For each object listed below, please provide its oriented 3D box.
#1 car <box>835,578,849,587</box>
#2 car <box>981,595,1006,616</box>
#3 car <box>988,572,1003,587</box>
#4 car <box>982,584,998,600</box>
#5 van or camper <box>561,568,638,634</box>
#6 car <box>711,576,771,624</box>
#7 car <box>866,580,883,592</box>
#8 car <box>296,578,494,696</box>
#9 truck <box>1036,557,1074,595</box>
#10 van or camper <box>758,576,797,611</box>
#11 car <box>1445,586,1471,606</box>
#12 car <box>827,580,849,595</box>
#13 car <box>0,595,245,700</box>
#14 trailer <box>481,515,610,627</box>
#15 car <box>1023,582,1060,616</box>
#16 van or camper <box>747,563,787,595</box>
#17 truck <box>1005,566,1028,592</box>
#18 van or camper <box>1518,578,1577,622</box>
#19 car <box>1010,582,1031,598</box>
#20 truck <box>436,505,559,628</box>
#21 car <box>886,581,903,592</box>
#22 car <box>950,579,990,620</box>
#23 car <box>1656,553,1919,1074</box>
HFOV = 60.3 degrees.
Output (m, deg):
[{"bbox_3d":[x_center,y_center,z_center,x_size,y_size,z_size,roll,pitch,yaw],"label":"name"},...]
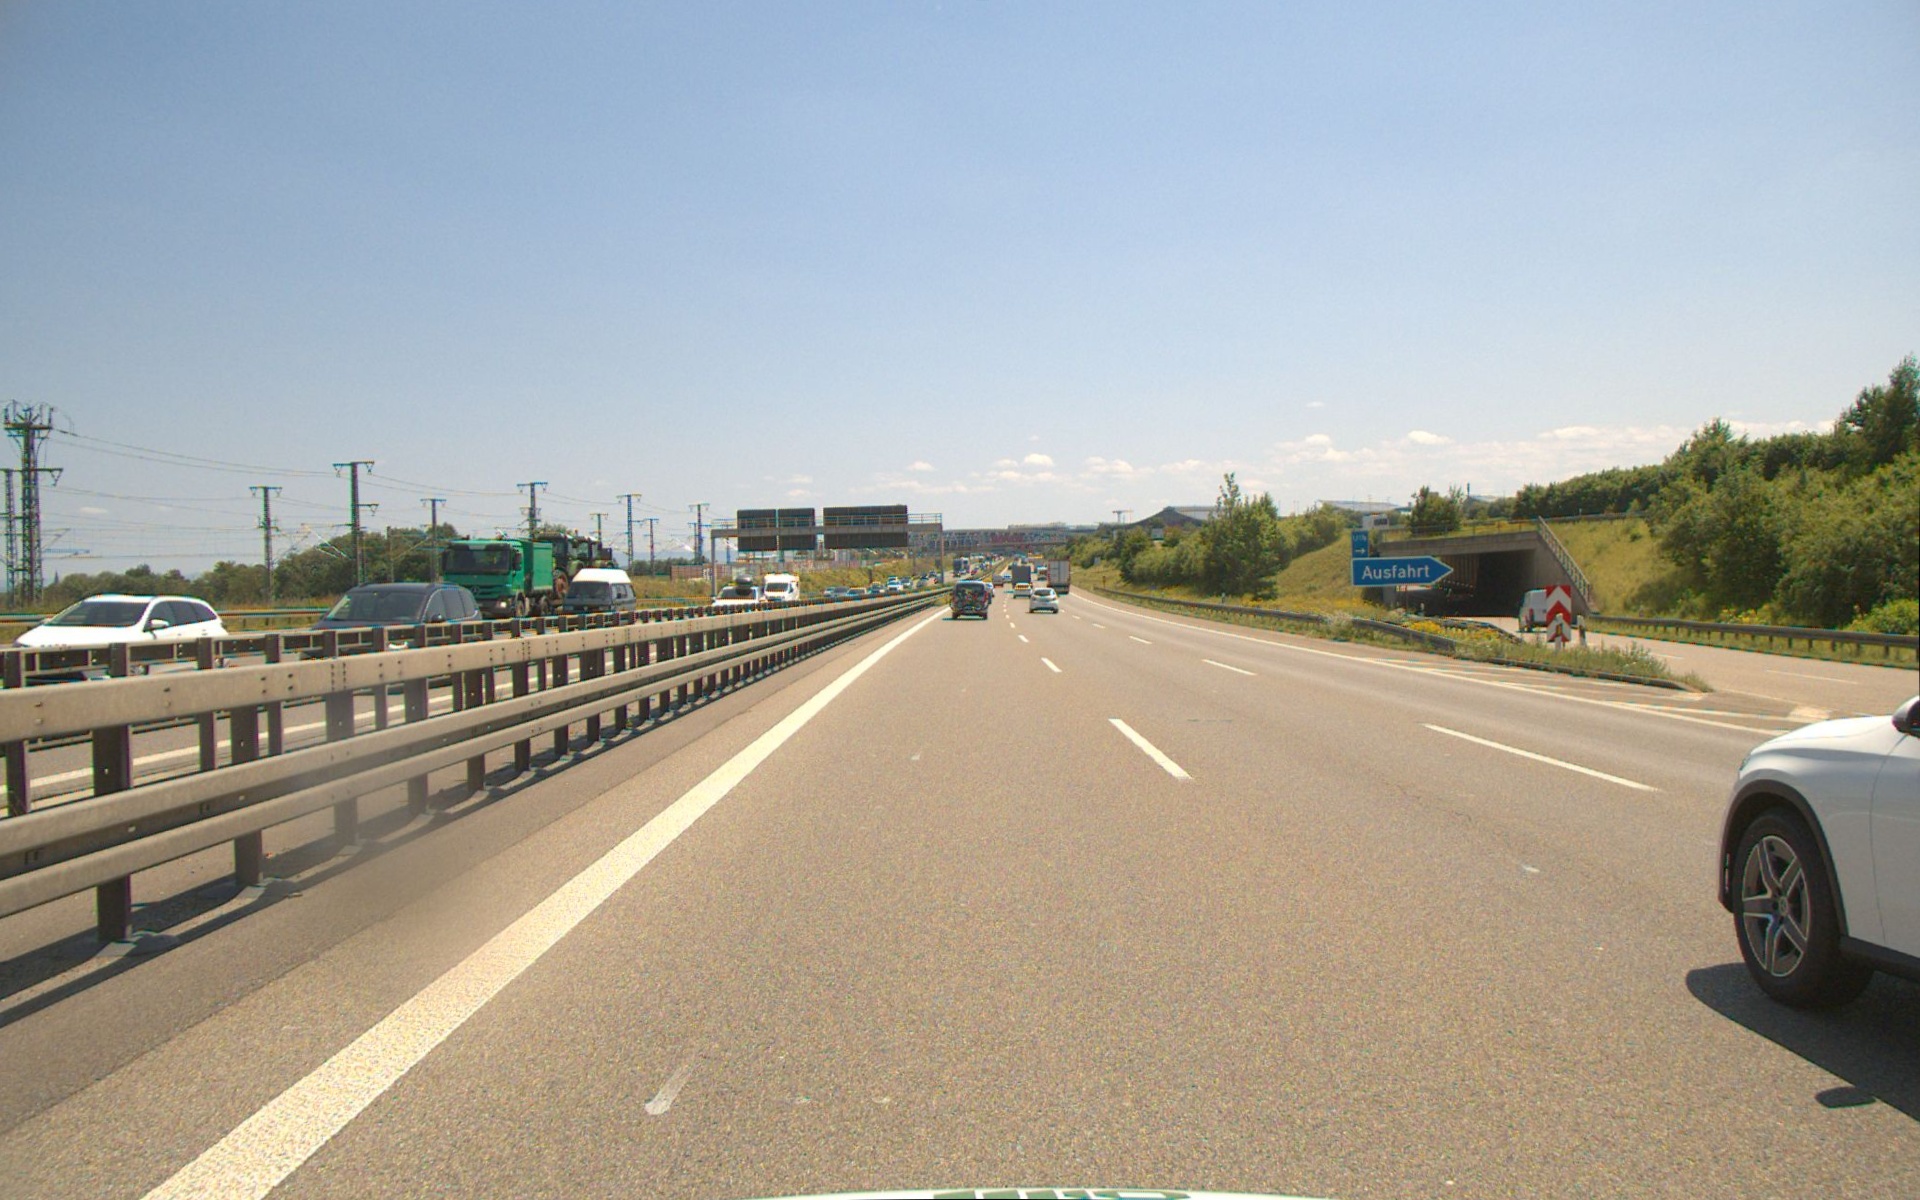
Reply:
[{"bbox_3d":[-18.276,-2.701,256.534,1.907,1.370,4.000,0,0,0],"label":"car"},{"bbox_3d":[2.709,0.457,132.713,1.886,1.656,4.519,0,-1,3],"label":"car"},{"bbox_3d":[5.521,-3.200,257.213,2.142,2.037,4.000,0,3,-1],"label":"car"},{"bbox_3d":[3.100,-0.829,169.816,1.543,1.579,3.965,0,-1,3],"label":"car"},{"bbox_3d":[-12.703,0.022,58.535,1.720,2.260,4.941,0,0,-1],"label":"van or camper"},{"bbox_3d":[-8.533,0.001,64.843,1.770,1.829,4.839,0,0,-1],"label":"car"},{"bbox_3d":[-9.502,-1.558,184.011,1.729,1.370,4.000,0,0,0],"label":"car"},{"bbox_3d":[-9.181,0.543,27.293,1.720,1.772,4.720,0,0,-1],"label":"car"},{"bbox_3d":[11.312,-2.903,198.752,3.956,4.336,11.759,0,2,0],"label":"truck"},{"bbox_3d":[-12.507,-0.472,113.599,1.952,2.340,5.894,0,0,0],"label":"van or camper"},{"bbox_3d":[46.137,-0.375,153.258,1.951,1.780,4.003,0,-1,13],"label":"car"},{"bbox_3d":[-11.160,-1.110,151.746,1.658,1.370,4.000,0,0,0],"label":"car"},{"bbox_3d":[-13.143,0.676,26.165,1.720,1.507,4.633,0,0,-1],"label":"car"},{"bbox_3d":[-17.202,-1.062,69.519,2.703,4.319,11.198,0,-1,-1],"label":"trailer"},{"bbox_3d":[4.870,-0.033,99.050,1.888,1.952,4.516,0,-1,-2],"label":"car"},{"bbox_3d":[-16.572,-1.773,142.360,2.465,2.711,8.064,0,0,0],"label":"van or camper"},{"bbox_3d":[7.219,-2.673,212.725,2.647,3.163,10.658,0,-1,0],"label":"truck"},{"bbox_3d":[28.340,0.034,79.910,2.110,2.049,4.308,0,-1,11],"label":"van or camper"},{"bbox_3d":[5.895,-0.981,162.802,1.941,1.499,4.000,0,0,0],"label":"car"},{"bbox_3d":[-17.091,-1.141,61.574,2.703,4.319,6.976,0,-1,-1],"label":"truck"},{"bbox_3d":[-8.151,-1.651,205.056,1.907,1.370,4.000,0,0,0],"label":"car"},{"bbox_3d":[0.461,0.013,80.811,1.887,1.952,4.947,0,-1,0],"label":"car"},{"bbox_3d":[4.013,0.683,4.898,1.859,1.676,4.998,0,-1,1],"label":"car"}]
